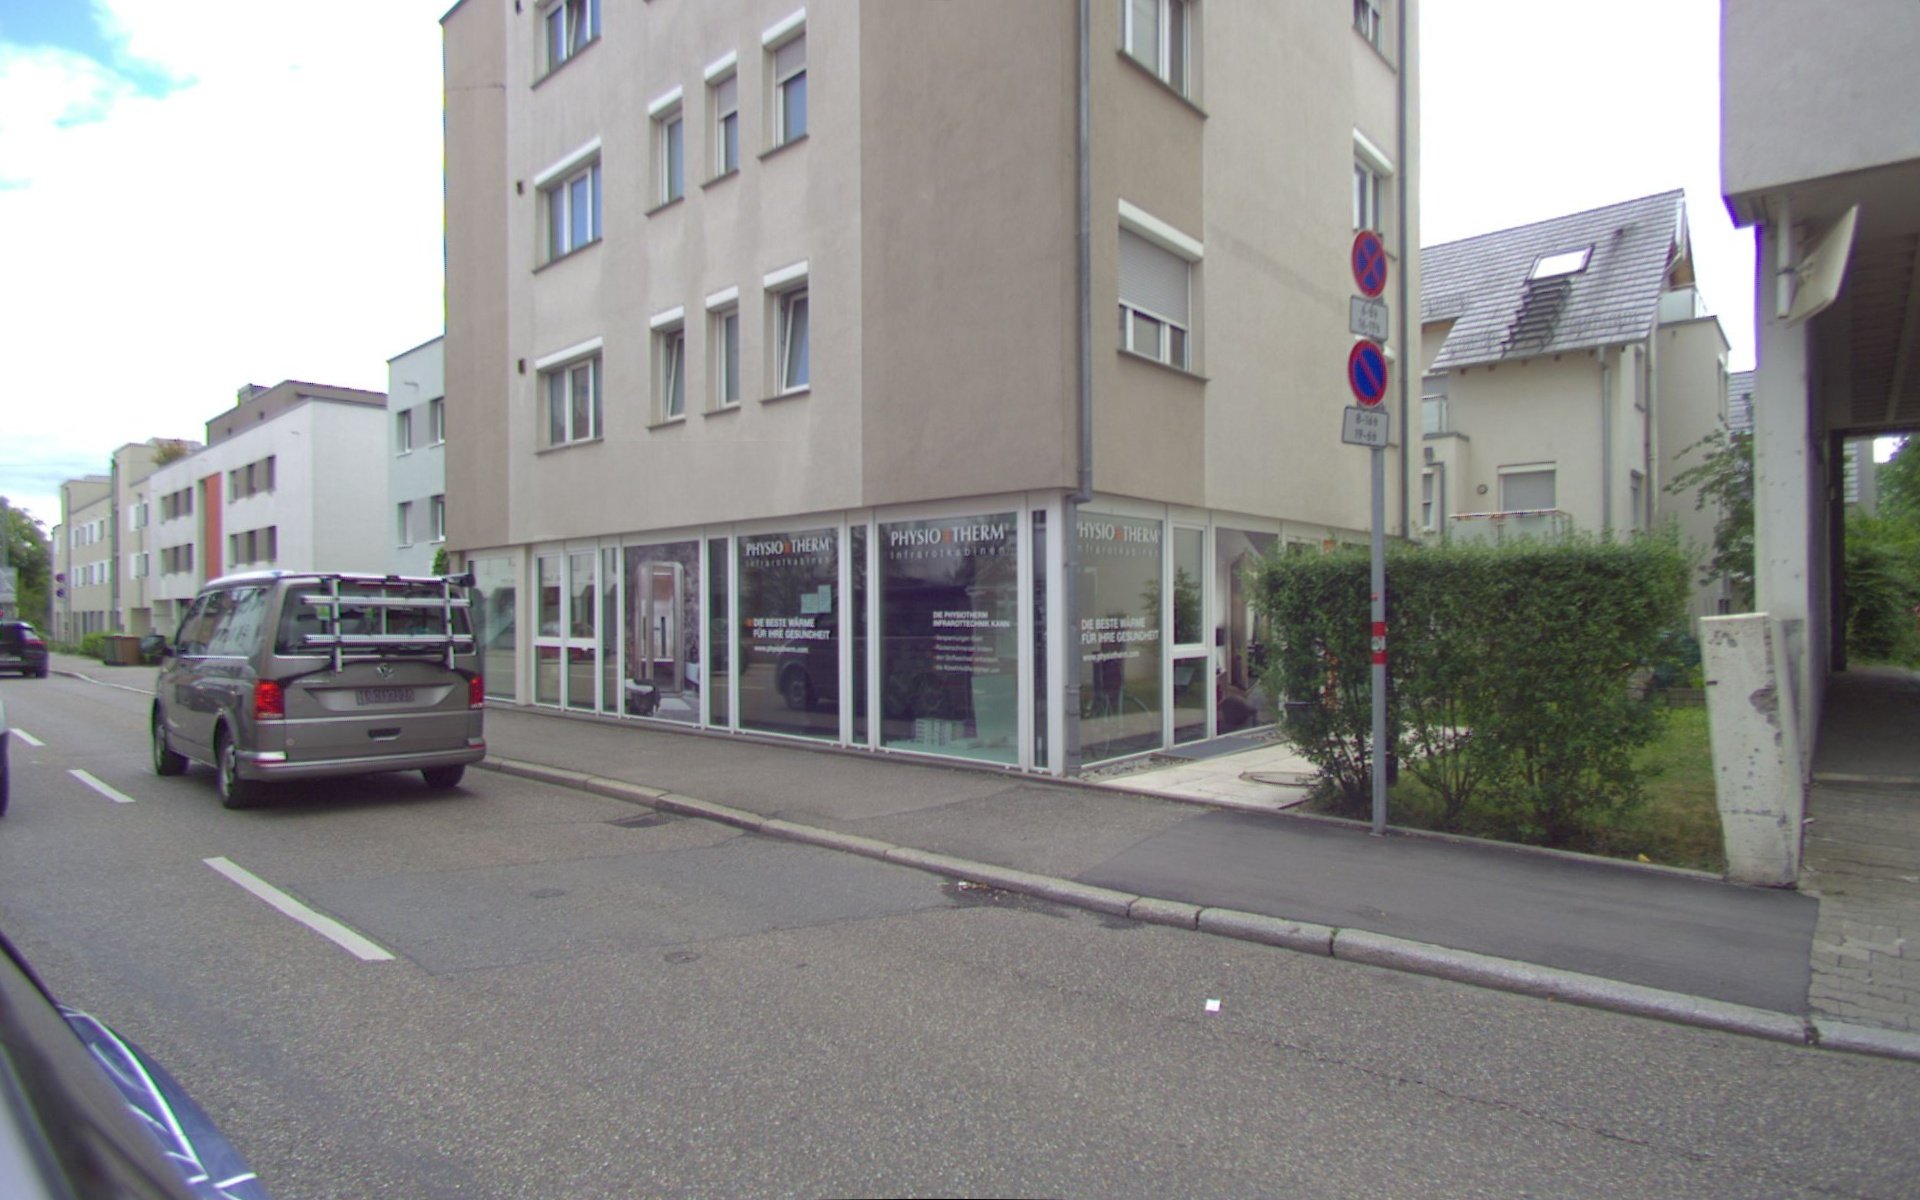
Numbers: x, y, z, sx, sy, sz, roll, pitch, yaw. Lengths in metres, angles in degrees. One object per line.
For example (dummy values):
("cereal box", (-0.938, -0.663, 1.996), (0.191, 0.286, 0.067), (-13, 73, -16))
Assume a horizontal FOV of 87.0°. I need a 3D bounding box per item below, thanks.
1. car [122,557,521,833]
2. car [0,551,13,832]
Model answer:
("car", (-6.277, 0.768, 9.695), (4.759, 2.013, 1.939), (-2, -3, 41))
("car", (-9.391, 0.700, 8.212), (5.084, 2.013, 1.940), (-2, -1, 41))
